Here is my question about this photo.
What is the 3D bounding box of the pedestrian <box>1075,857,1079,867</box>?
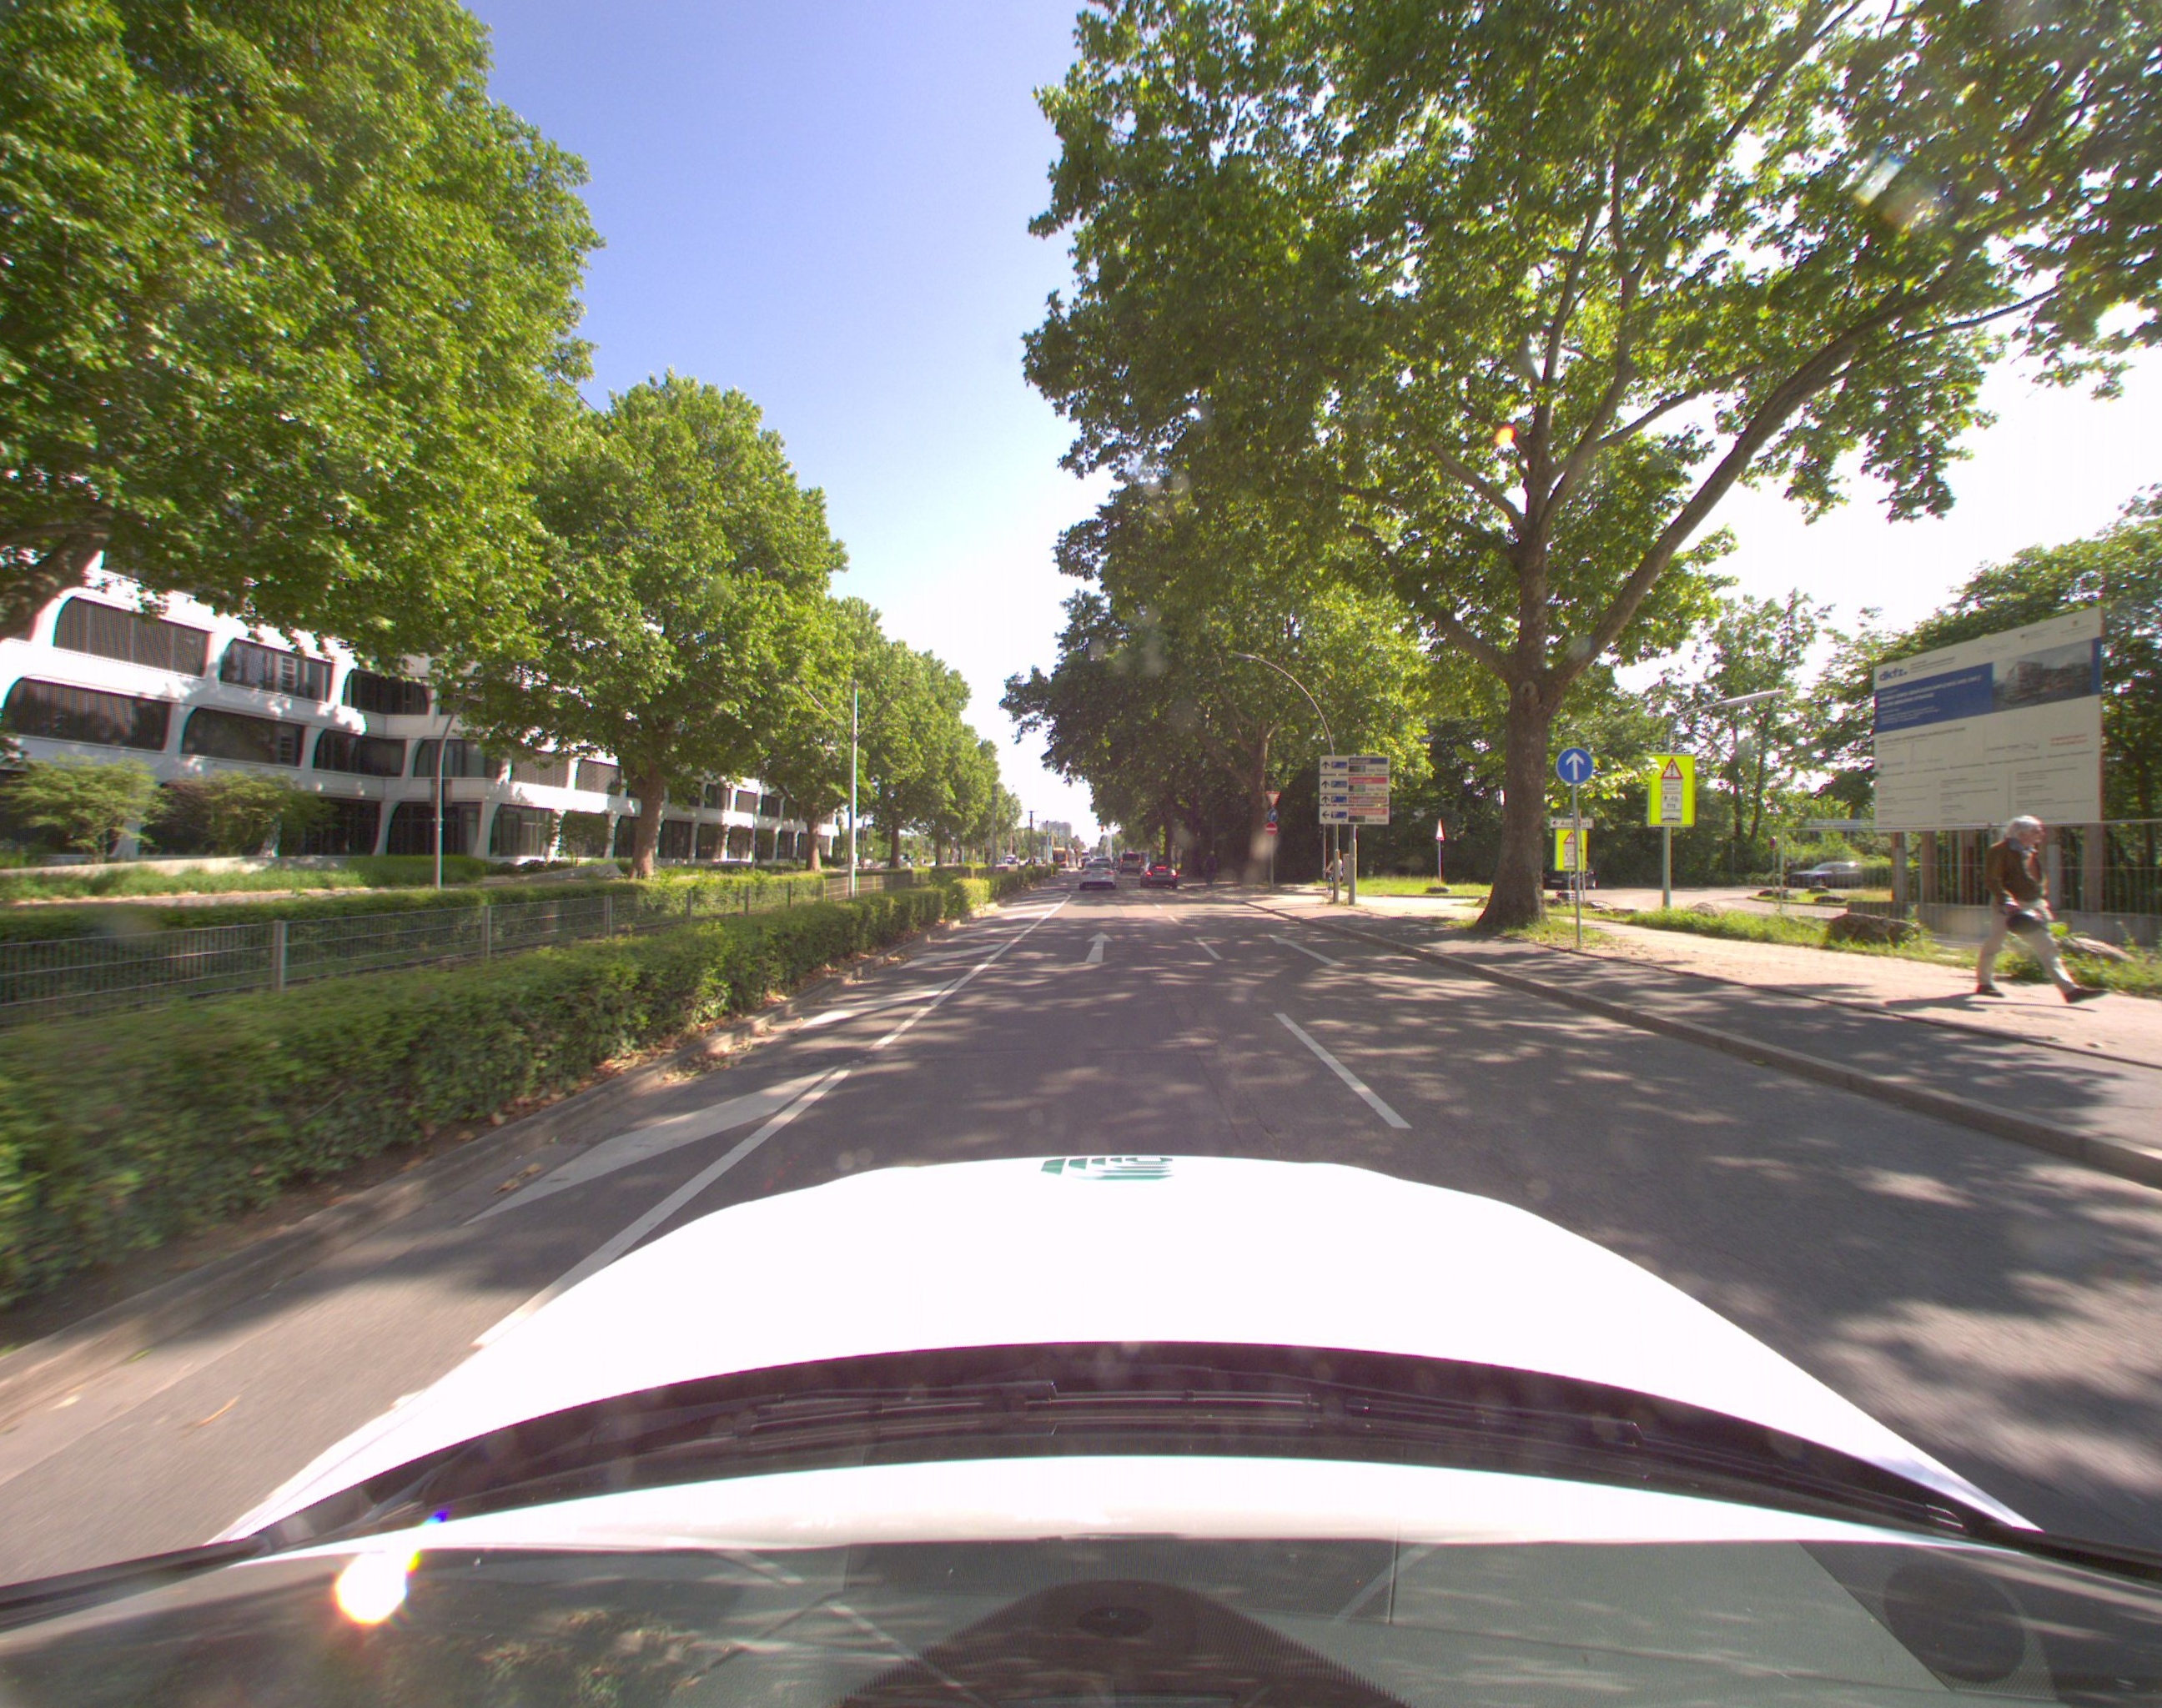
[{"bbox_3d":[-0.768,1.467,150.392,0.621,1.918,0.690,1,-1,2],"label":"pedestrian"}]

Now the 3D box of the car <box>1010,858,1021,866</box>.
[{"bbox_3d":[-14.560,1.770,180.898,1.823,1.624,4.897,0,0,1],"label":"car"}]

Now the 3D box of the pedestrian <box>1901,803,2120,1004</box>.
[{"bbox_3d":[9.384,0.472,8.291,0.935,1.892,1.151,0,-1,1],"label":"pedestrian"}]

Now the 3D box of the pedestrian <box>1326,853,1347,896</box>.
[{"bbox_3d":[10.782,0.837,34.337,0.629,1.785,0.874,1,-1,1],"label":"pedestrian"}]

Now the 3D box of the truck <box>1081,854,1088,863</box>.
[{"bbox_3d":[1.039,1.488,260.369,1.986,2.790,8.522,1,0,2],"label":"truck"}]

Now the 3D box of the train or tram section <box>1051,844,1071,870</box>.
[{"bbox_3d":[-3.209,0.550,131.592,2.606,4.015,7.752,1,-1,2],"label":"train or tram section"}]

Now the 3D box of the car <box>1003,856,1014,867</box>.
[{"bbox_3d":[-17.286,1.800,195.094,2.106,2.383,4.002,0,0,2],"label":"car"}]

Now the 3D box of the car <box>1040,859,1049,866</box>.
[{"bbox_3d":[-8.543,2.014,190.893,1.986,1.734,4.002,1,-1,2],"label":"car"}]

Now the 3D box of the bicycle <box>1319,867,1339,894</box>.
[{"bbox_3d":[10.403,1.105,34.150,0.348,1.082,1.699,1,-1,1],"label":"bicycle"}]

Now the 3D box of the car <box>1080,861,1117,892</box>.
[{"bbox_3d":[0.907,1.095,40.945,1.778,1.420,3.886,1,0,2],"label":"car"}]

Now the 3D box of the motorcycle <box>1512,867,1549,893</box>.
[{"bbox_3d":[17.588,1.017,31.845,1.217,0.967,0.470,0,-1,-6],"label":"motorcycle"}]

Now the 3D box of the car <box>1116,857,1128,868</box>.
[{"bbox_3d":[7.333,1.524,145.036,2.064,1.999,4.059,1,-1,2],"label":"car"}]

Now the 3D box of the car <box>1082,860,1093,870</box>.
[{"bbox_3d":[1.177,1.896,138.090,1.723,1.631,4.001,1,0,2],"label":"car"}]

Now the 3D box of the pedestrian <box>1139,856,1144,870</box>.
[{"bbox_3d":[8.808,1.281,118.412,0.633,1.946,0.719,1,-1,2],"label":"pedestrian"}]

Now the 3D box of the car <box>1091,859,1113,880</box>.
[{"bbox_3d":[1.668,1.238,64.522,1.723,1.605,3.886,1,0,2],"label":"car"}]

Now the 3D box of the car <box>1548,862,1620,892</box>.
[{"bbox_3d":[26.069,1.159,42.192,4.015,1.454,1.667,1,-1,-33],"label":"car"}]

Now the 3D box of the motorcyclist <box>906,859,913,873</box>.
[{"bbox_3d":[-16.899,1.178,80.394,0.578,1.457,0.533,0,-1,1],"label":"motorcyclist"}]

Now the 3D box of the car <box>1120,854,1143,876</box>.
[{"bbox_3d":[5.183,1.085,84.680,2.221,2.212,4.163,1,-1,2],"label":"car"}]

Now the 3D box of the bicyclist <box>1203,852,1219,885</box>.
[{"bbox_3d":[6.782,0.733,42.472,0.632,1.648,0.979,-2,1,0],"label":"bicyclist"}]

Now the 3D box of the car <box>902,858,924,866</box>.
[{"bbox_3d":[-33.494,1.523,162.275,3.833,1.549,1.770,1,-1,1],"label":"car"}]

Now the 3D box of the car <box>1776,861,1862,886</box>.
[{"bbox_3d":[44.347,1.164,48.981,3.984,1.454,1.679,0,-1,-8],"label":"car"}]

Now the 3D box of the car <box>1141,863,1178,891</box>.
[{"bbox_3d":[4.228,1.213,44.406,1.776,1.420,4.001,1,0,2],"label":"car"}]

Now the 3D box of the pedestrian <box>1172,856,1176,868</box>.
[{"bbox_3d":[14.916,1.257,130.358,0.611,1.896,0.597,0,-1,-2],"label":"pedestrian"}]

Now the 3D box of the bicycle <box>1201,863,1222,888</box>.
[{"bbox_3d":[6.807,1.122,42.521,0.712,1.148,2.179,-2,2,1],"label":"bicycle"}]

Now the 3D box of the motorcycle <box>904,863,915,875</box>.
[{"bbox_3d":[-16.890,1.477,80.387,0.630,1.175,2.000,0,0,2],"label":"motorcycle"}]
